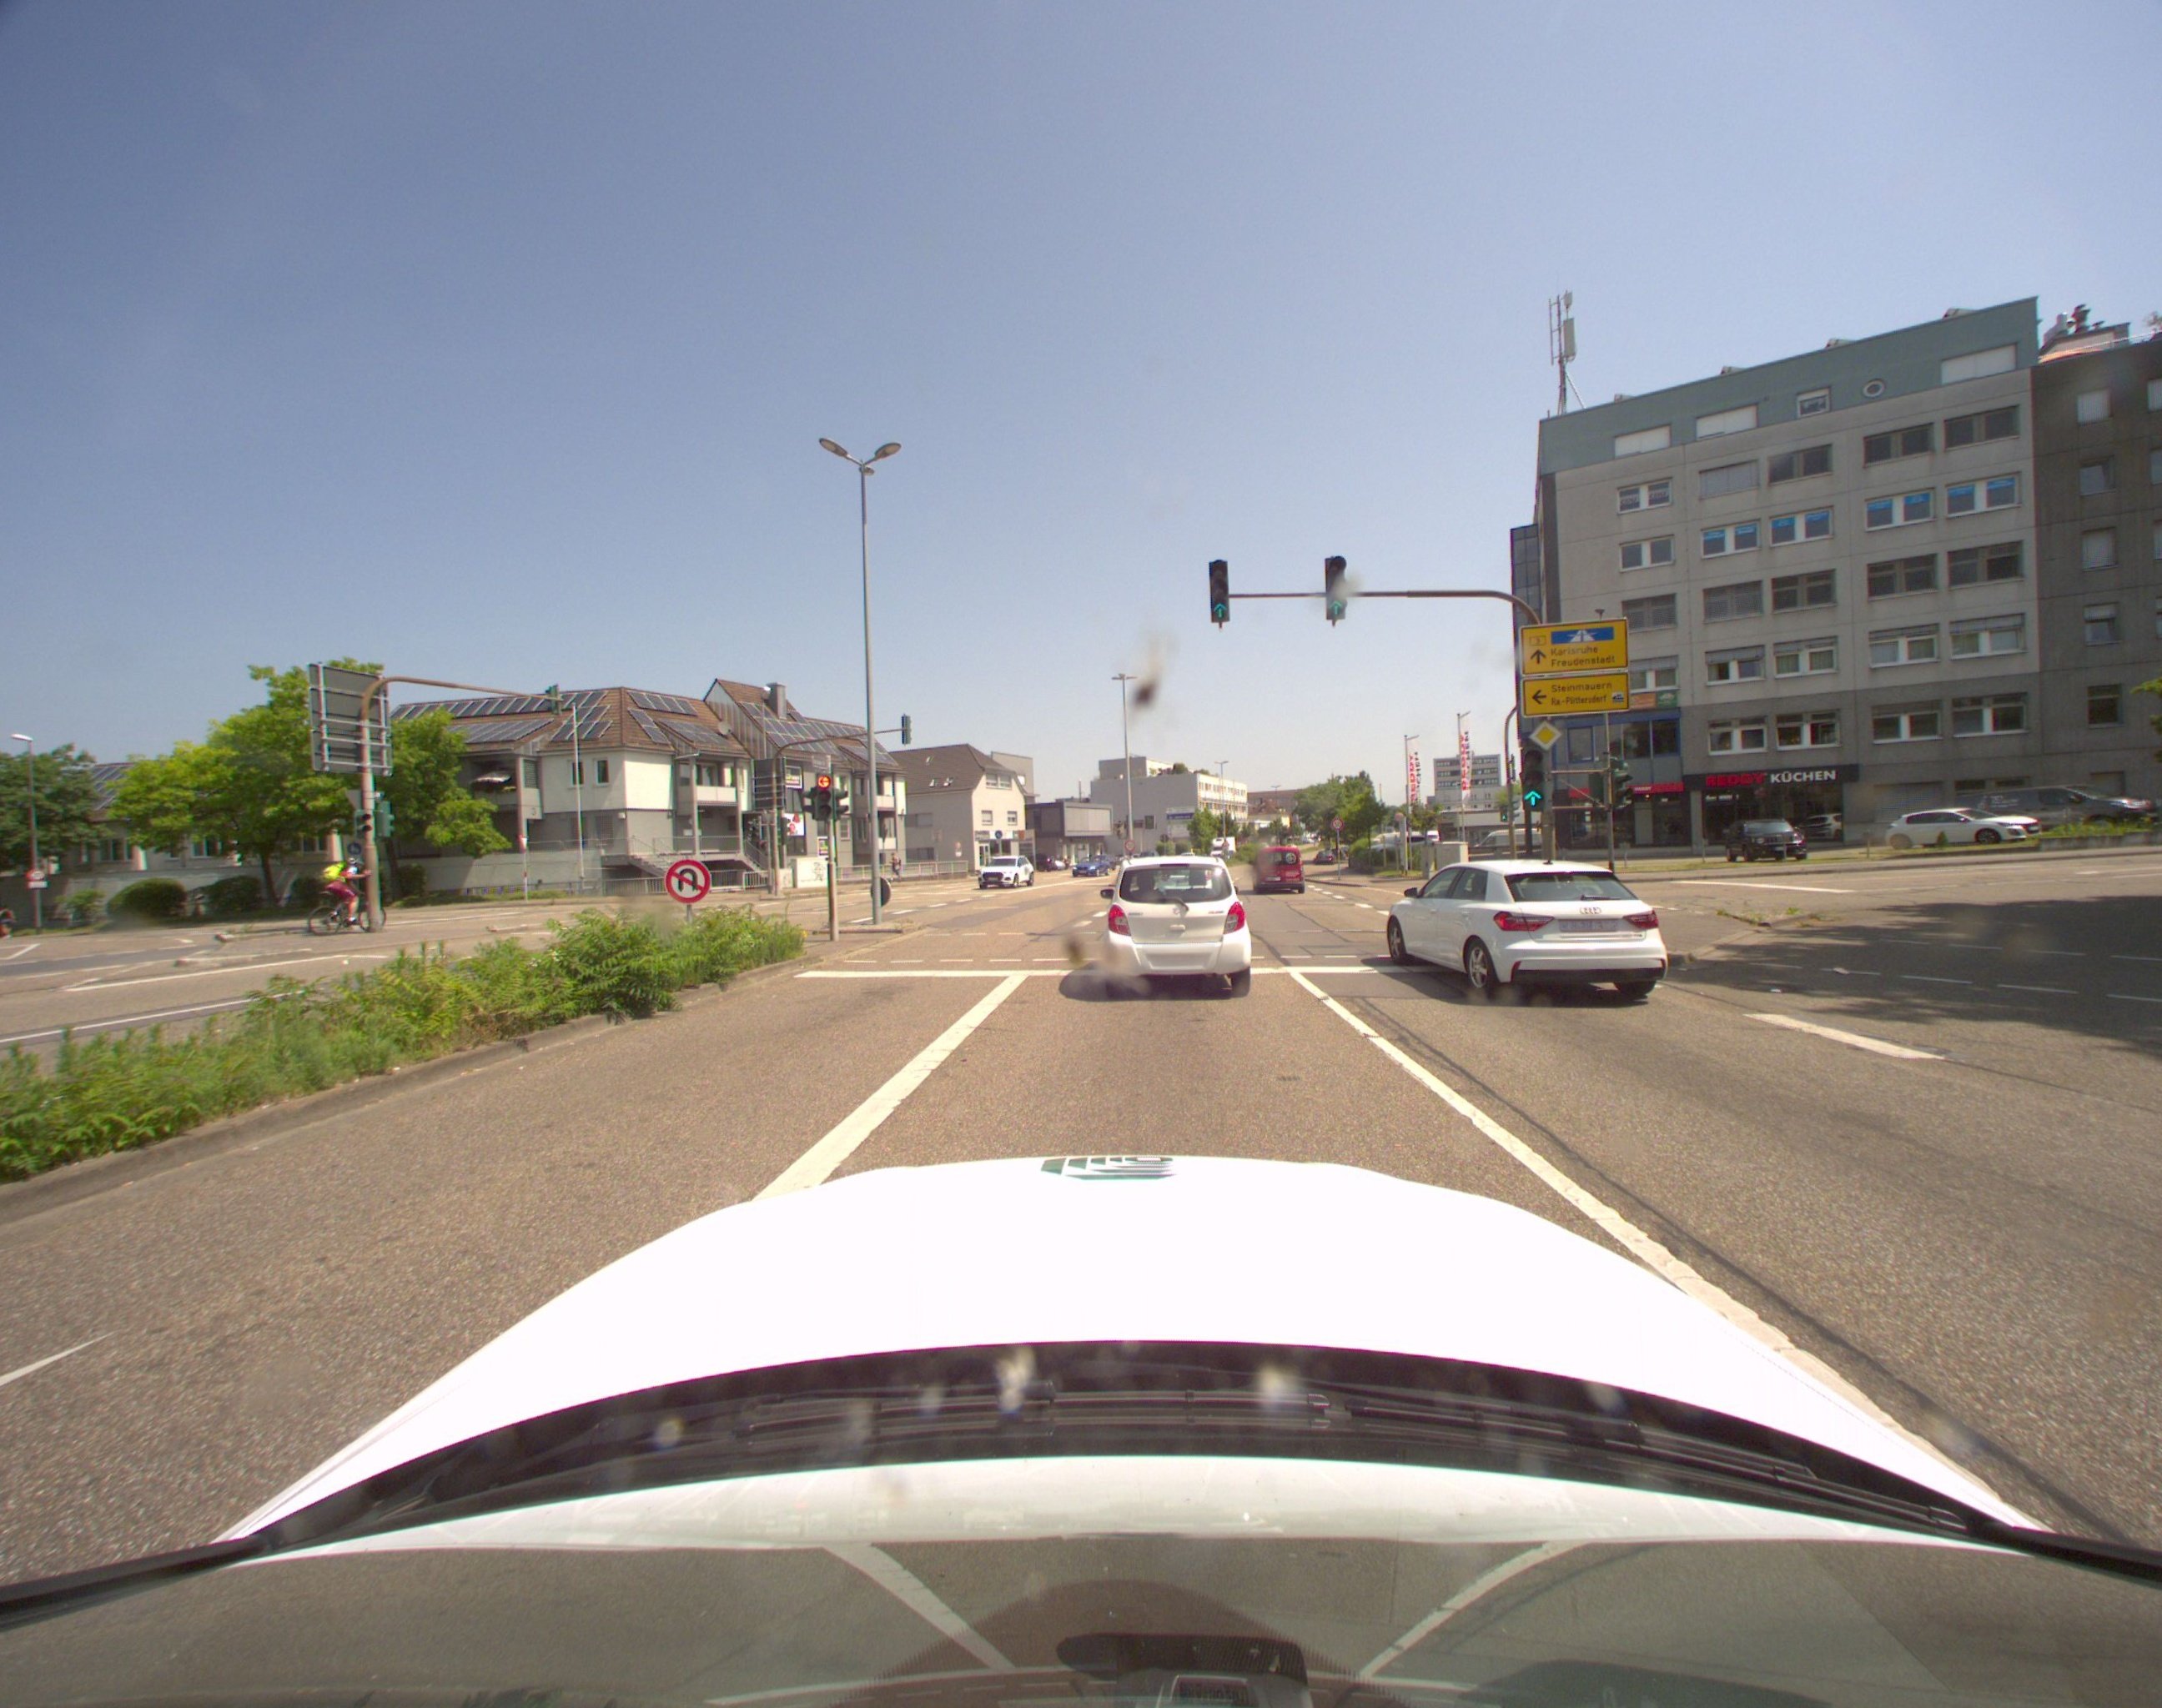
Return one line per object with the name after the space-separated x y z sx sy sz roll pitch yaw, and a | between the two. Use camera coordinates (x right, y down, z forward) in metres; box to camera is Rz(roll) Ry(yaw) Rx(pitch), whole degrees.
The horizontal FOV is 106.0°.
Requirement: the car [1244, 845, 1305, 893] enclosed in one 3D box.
7.448 0.537 31.678 1.785 1.729 3.979 -1 0 6 | car

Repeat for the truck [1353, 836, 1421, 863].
31.480 -0.498 83.805 6.188 2.336 2.382 -3 1 25 | truck

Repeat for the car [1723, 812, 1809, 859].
26.754 -0.708 31.962 1.524 1.675 4.355 -2 0 26 | car

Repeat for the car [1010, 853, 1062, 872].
-4.278 0.781 77.079 4.565 1.627 1.864 2 1 23 | car

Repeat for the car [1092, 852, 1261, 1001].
1.071 0.760 9.972 1.705 1.511 3.250 -1 -1 3 | car

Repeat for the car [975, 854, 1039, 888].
-3.678 0.827 41.239 1.804 1.570 4.572 -1 0 13 | car

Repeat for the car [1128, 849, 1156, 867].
6.243 0.408 82.979 1.979 1.656 4.611 -2 0 14 | car

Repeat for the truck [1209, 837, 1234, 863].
19.428 -0.522 112.566 2.246 3.417 7.072 -1 -1 19 | truck

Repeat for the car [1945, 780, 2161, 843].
36.013 -1.482 30.228 1.888 2.037 5.165 0 0 -15 | car

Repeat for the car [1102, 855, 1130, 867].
5.539 1.117 128.994 3.940 1.467 2.084 -4 0 21 | car

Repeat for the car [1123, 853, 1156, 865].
7.621 0.642 105.570 3.954 1.459 1.583 -2 -1 19 | car

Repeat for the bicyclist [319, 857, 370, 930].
-17.167 0.909 19.000 0.419 1.642 0.821 -1 1 1 | bicyclist

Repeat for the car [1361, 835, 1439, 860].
22.540 -0.467 57.685 4.712 1.713 1.999 -1 -1 -2 | car

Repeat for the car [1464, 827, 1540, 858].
36.853 -0.969 71.403 5.831 2.528 2.132 -1 -1 26 | car

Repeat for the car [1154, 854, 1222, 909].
3.243 0.758 24.279 1.819 1.450 4.010 -1 0 9 | car

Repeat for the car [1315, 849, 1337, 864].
24.663 0.263 81.882 1.782 1.406 4.344 -1 0 22 | car

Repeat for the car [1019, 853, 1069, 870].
-3.620 0.744 80.007 4.571 1.496 1.760 2 1 15 | car

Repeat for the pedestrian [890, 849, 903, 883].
-11.309 0.728 49.954 0.499 2.013 0.744 -1 1 7 | pedestrian

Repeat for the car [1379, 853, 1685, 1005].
4.944 0.714 9.587 1.660 1.399 3.796 -1 0 3 | car

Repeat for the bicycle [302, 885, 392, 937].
-17.170 1.319 19.102 0.419 1.054 1.790 -1 1 2 | bicycle

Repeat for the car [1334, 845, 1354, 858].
35.329 -0.390 109.276 1.943 1.530 5.190 -5 0 24 | car

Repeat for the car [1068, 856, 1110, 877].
0.597 0.839 56.440 1.849 1.366 4.365 -1 0 16 | car

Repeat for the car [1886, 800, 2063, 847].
33.218 -1.067 30.456 1.541 1.533 4.203 0 -1 -15 | car

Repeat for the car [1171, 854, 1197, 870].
9.539 0.727 75.171 1.849 1.431 4.763 -1 0 14 | car

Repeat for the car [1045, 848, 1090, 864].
-1.379 0.203 82.850 4.022 1.521 2.010 -3 -1 20 | car

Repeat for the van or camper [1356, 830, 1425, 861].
33.432 -0.916 87.937 6.736 2.897 2.288 -3 0 23 | van or camper
